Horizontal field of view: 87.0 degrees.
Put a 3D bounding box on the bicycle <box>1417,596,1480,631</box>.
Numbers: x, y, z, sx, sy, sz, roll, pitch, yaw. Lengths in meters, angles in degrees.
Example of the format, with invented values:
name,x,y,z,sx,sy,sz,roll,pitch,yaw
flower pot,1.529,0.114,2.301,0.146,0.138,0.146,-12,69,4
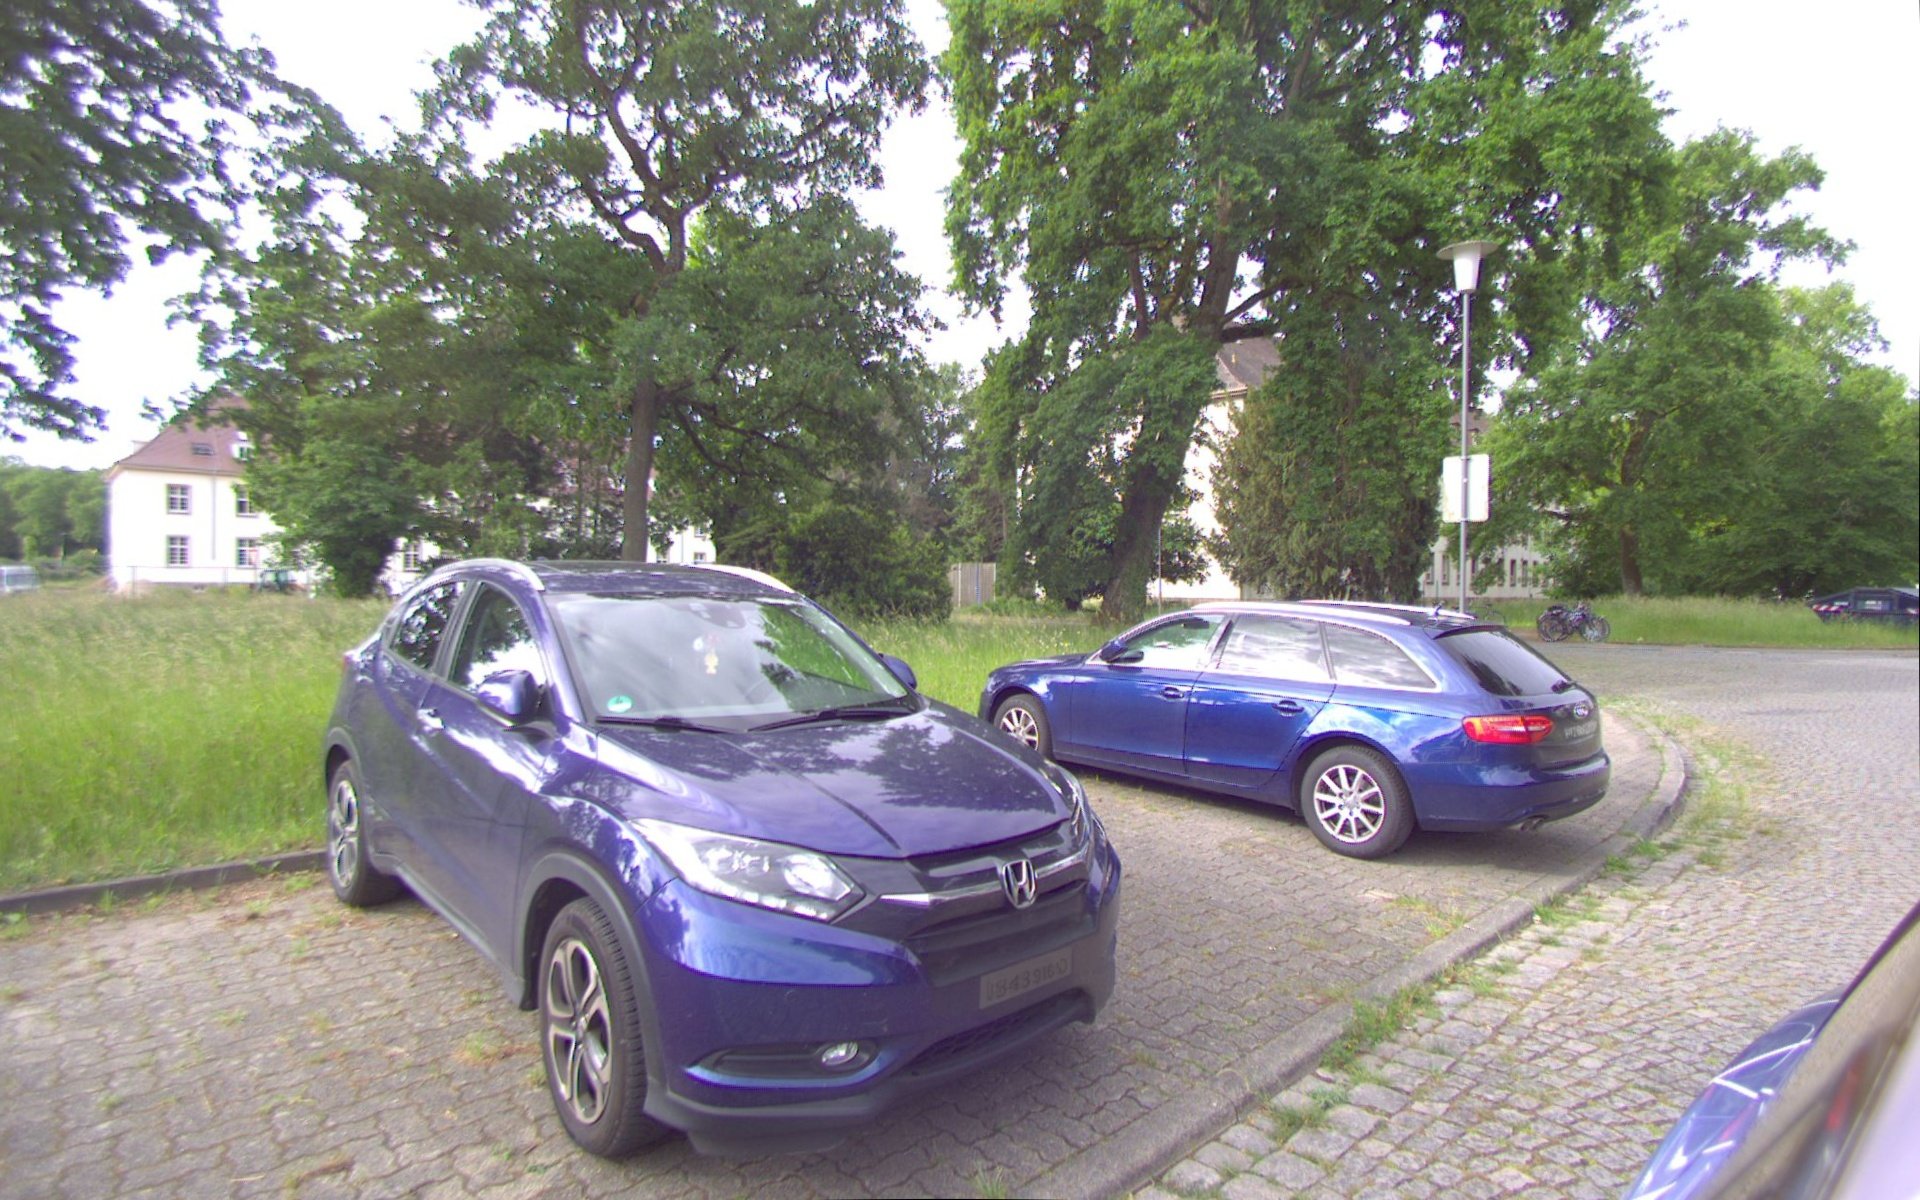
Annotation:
name,x,y,z,sx,sy,sz,roll,pitch,yaw
bicycle,16.238,0.449,33.668,1.837,1.137,0.617,0,0,24

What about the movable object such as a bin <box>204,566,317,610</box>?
name,x,y,z,sx,sy,sz,roll,pitch,yaw
movable object such as a bin,-44.766,-0.758,64.898,5.865,2.688,2.175,-1,0,-36

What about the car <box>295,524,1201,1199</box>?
name,x,y,z,sx,sy,sz,roll,pitch,yaw
car,-1.276,0.586,4.167,1.763,1.591,4.167,-1,2,-43

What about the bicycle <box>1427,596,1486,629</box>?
name,x,y,z,sx,sy,sz,roll,pitch,yaw
bicycle,17.456,0.424,35.634,1.837,1.137,0.617,0,0,24

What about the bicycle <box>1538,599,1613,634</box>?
name,x,y,z,sx,sy,sz,roll,pitch,yaw
bicycle,19.502,0.519,32.118,1.948,1.090,0.584,0,0,20

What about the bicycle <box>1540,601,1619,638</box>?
name,x,y,z,sx,sy,sz,roll,pitch,yaw
bicycle,18.739,0.572,30.656,1.948,1.090,0.584,0,0,20

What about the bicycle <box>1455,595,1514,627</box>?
name,x,y,z,sx,sy,sz,roll,pitch,yaw
bicycle,19.160,0.389,37.008,1.837,1.137,0.617,0,0,24

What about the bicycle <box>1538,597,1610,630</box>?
name,x,y,z,sx,sy,sz,roll,pitch,yaw
bicycle,20.593,0.446,33.984,2.007,1.090,0.617,0,0,24

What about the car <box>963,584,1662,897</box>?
name,x,y,z,sx,sy,sz,roll,pitch,yaw
car,2.136,0.663,7.280,1.753,1.439,4.479,0,2,-40

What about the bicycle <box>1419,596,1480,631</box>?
name,x,y,z,sx,sy,sz,roll,pitch,yaw
bicycle,16.531,0.442,34.234,1.837,1.137,0.617,0,0,24
